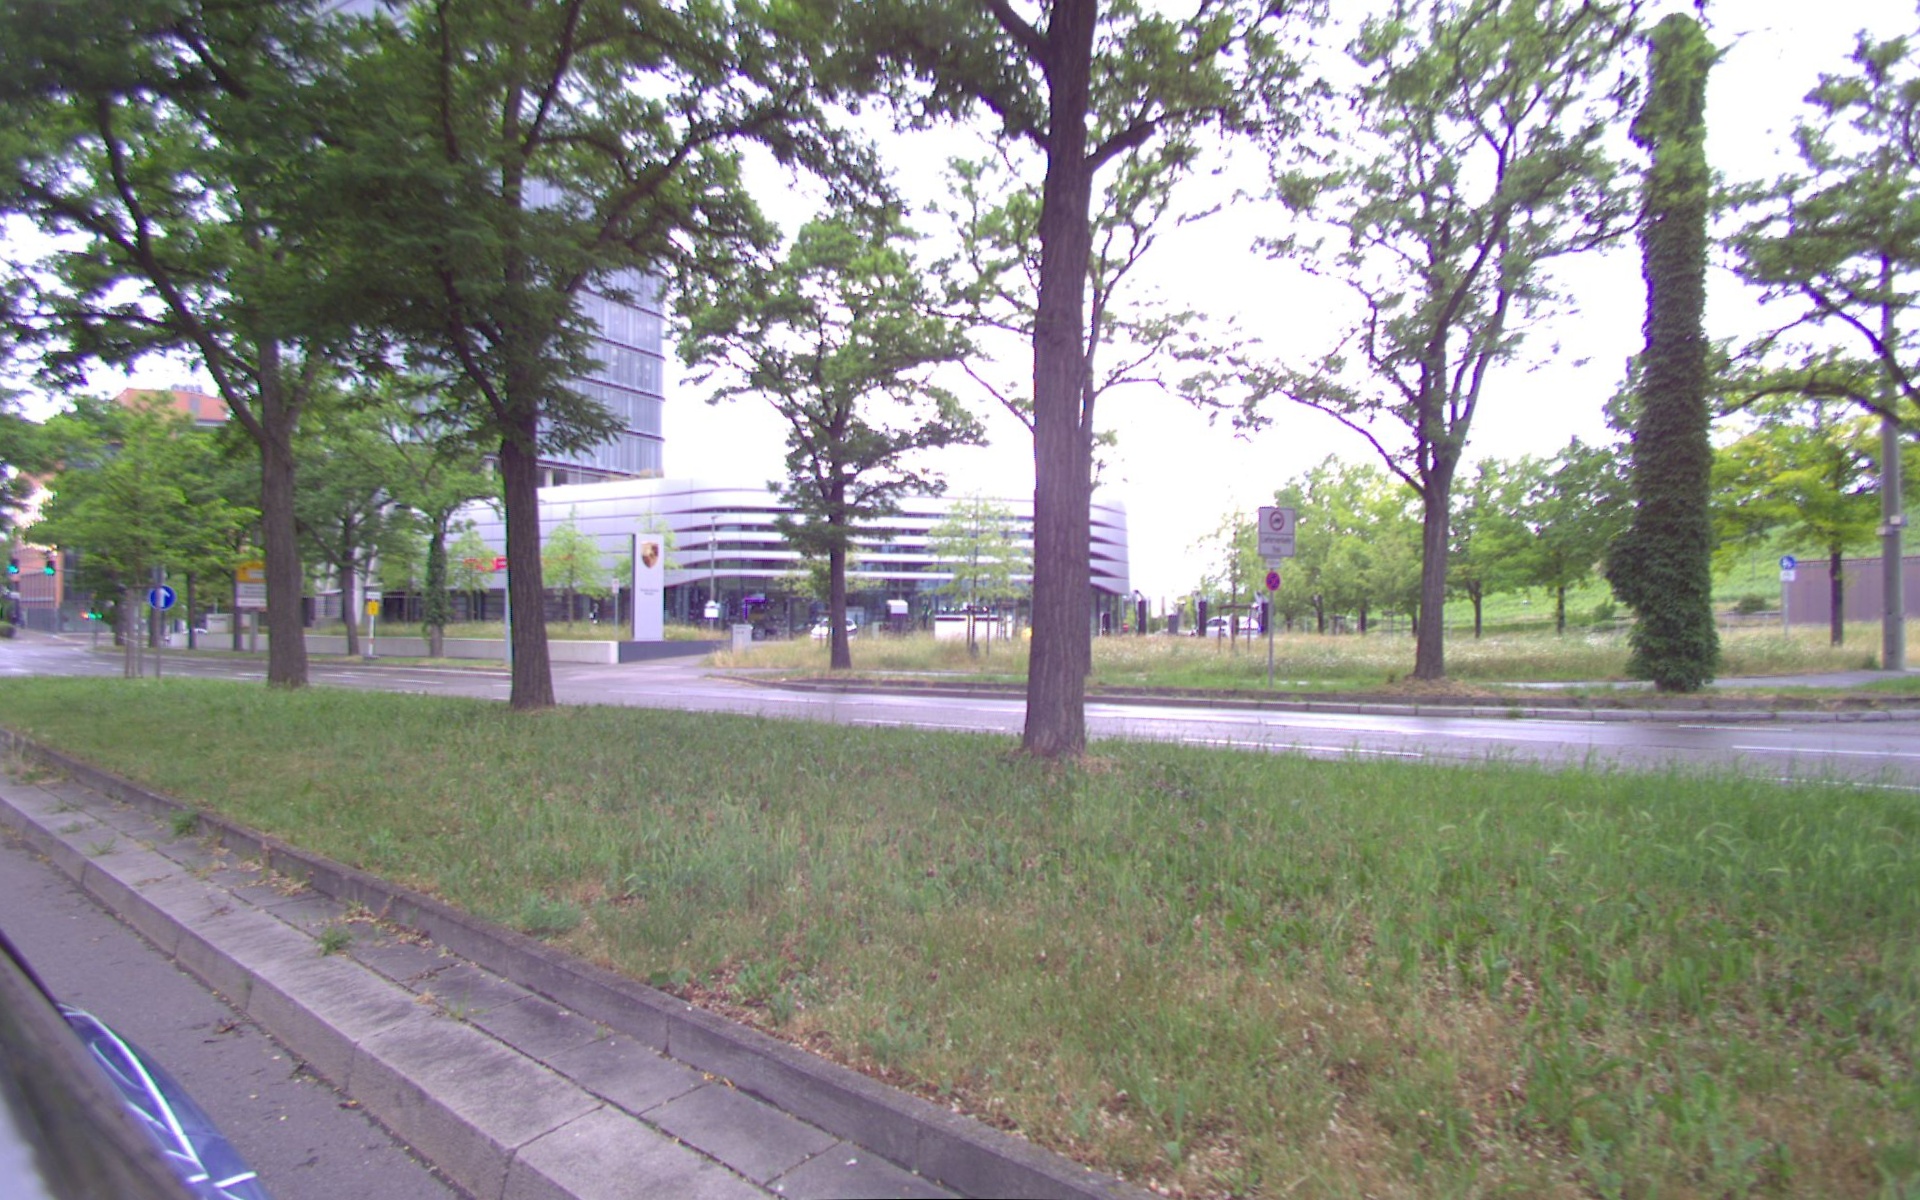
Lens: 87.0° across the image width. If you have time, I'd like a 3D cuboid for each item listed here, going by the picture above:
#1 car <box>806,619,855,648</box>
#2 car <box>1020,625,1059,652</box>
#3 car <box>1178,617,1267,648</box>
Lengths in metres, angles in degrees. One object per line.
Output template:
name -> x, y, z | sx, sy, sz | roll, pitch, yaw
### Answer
car -> -7.150, 1.834, 56.247 | 1.757, 1.423, 3.992 | -1, 1, 7
car -> 4.682, 2.211, 59.024 | 1.605, 1.334, 3.981 | -1, 1, 15
car -> 12.048, 1.466, 46.656 | 1.592, 1.254, 4.012 | -2, 1, -30
